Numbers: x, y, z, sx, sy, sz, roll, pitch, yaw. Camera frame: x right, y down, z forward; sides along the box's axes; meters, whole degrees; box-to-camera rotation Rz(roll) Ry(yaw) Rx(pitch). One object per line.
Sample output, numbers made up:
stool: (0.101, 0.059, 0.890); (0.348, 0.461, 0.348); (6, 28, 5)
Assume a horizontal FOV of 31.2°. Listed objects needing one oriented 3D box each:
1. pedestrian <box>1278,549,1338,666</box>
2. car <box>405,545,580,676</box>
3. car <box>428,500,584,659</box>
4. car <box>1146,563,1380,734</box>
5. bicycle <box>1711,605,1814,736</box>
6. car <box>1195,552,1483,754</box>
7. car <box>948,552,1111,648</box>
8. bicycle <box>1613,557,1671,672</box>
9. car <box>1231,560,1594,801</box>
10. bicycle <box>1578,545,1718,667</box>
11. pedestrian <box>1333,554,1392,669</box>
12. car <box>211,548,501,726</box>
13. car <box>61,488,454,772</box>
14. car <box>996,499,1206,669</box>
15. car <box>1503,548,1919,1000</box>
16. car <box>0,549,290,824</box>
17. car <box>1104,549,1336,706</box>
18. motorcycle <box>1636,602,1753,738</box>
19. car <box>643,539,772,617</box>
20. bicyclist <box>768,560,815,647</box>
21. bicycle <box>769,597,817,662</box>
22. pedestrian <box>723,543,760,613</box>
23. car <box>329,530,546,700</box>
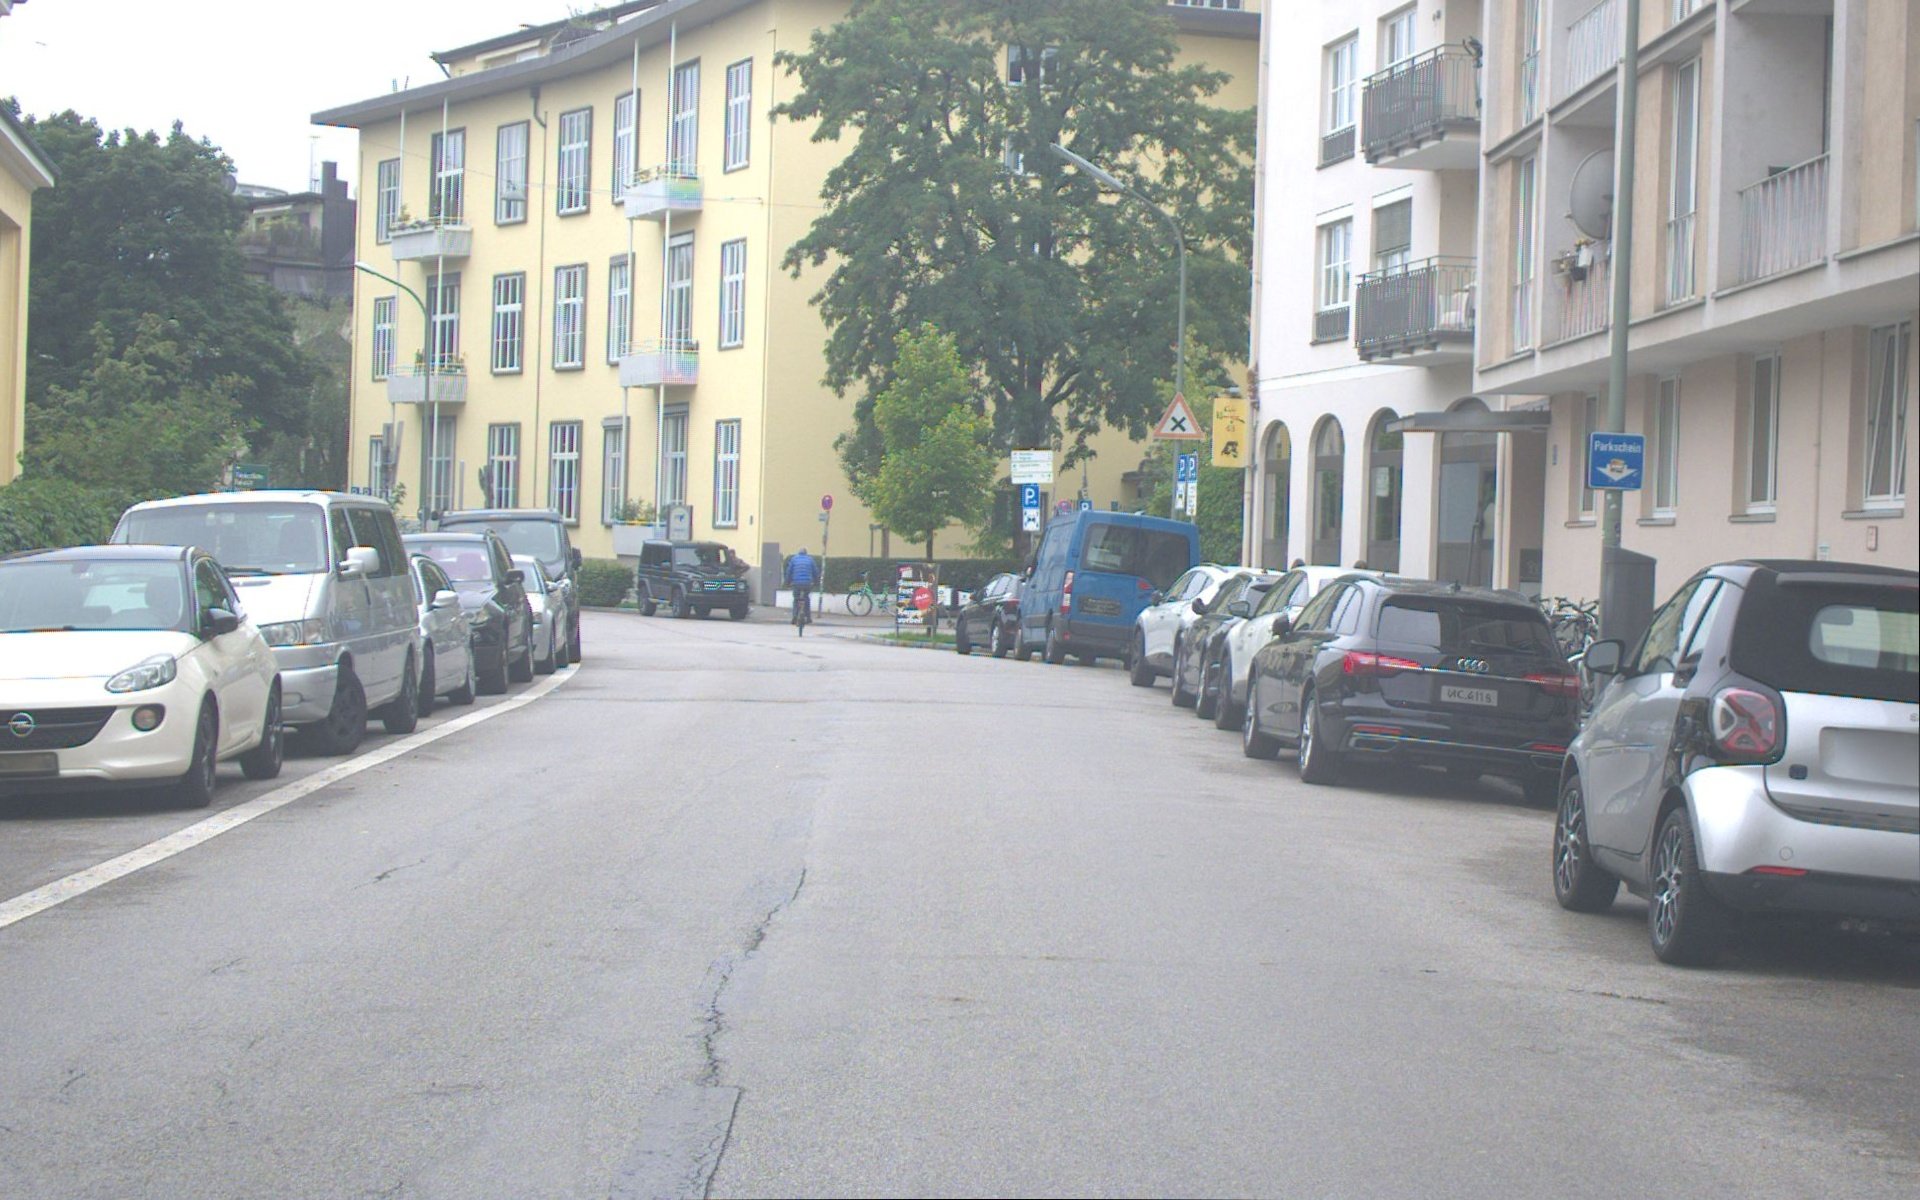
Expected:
pedestrian: (4.860, 0.108, 48.058); (0.678, 1.623, 0.830); (0, 0, -5)
car: (-5.542, 0.091, 41.155); (1.706, 1.361, 4.002); (-3, 2, -3)
car: (-6.067, -0.316, 46.197); (1.925, 1.972, 4.624); (-2, 2, -7)
car: (3.021, 0.438, 35.142); (1.772, 1.424, 4.694); (6, 1, -1)
bicycle: (7.380, 0.632, 31.655); (0.513, 1.153, 1.601); (0, 1, -2)
car: (3.198, 0.400, 29.802); (1.701, 1.463, 4.121); (5, 1, -3)
car: (1.116, -0.029, 57.305); (1.714, 1.390, 4.001); (5, 0, -13)
bicycle: (7.336, 0.148, 37.001); (0.393, 1.198, 1.342); (-2, 0, 4)
car: (3.068, 0.488, 24.217); (1.827, 1.376, 4.491); (4, 1, -1)
bicycle: (7.066, 0.063, 35.309); (1.337, 1.198, 0.394); (-2, 0, -15)
pedestrian: (5.622, 0.154, 48.046); (0.711, 1.599, 0.700); (0, 1, -4)
car: (-5.325, 0.273, 30.848); (1.804, 1.373, 4.491); (-3, 1, -1)
car: (-5.027, 0.140, 25.299); (1.893, 1.792, 4.881); (-3, 1, -1)
car: (2.041, -0.195, 51.410); (2.108, 2.206, 5.029); (6, -2, -7)
car: (3.353, 0.627, 13.977); (1.614, 1.511, 3.380); (5, 1, 0)
car: (-5.042, 0.445, 20.076); (1.666, 1.404, 3.559); (-2, 1, -2)
car: (2.985, 0.277, 40.363); (1.775, 1.517, 4.305); (5, 1, -7)
motorcycle: (7.221, 0.672, 33.891); (0.635, 1.266, 2.041); (0, 1, -2)
car: (-6.506, -0.577, 88.088); (1.873, 1.881, 4.620); (1, 1, -23)
bicyclist: (-3.454, 0.066, 70.672); (0.914, 1.758, 1.215); (1, 1, -2)
bicycle: (-3.432, 0.594, 70.717); (0.921, 1.248, 2.322); (1, 1, -2)
pedestrian: (-5.602, -0.571, 88.154); (0.848, 1.751, 0.954); (0, 1, -8)
car: (-5.388, 0.101, 35.930); (1.702, 1.601, 4.491); (-2, 1, -2)
